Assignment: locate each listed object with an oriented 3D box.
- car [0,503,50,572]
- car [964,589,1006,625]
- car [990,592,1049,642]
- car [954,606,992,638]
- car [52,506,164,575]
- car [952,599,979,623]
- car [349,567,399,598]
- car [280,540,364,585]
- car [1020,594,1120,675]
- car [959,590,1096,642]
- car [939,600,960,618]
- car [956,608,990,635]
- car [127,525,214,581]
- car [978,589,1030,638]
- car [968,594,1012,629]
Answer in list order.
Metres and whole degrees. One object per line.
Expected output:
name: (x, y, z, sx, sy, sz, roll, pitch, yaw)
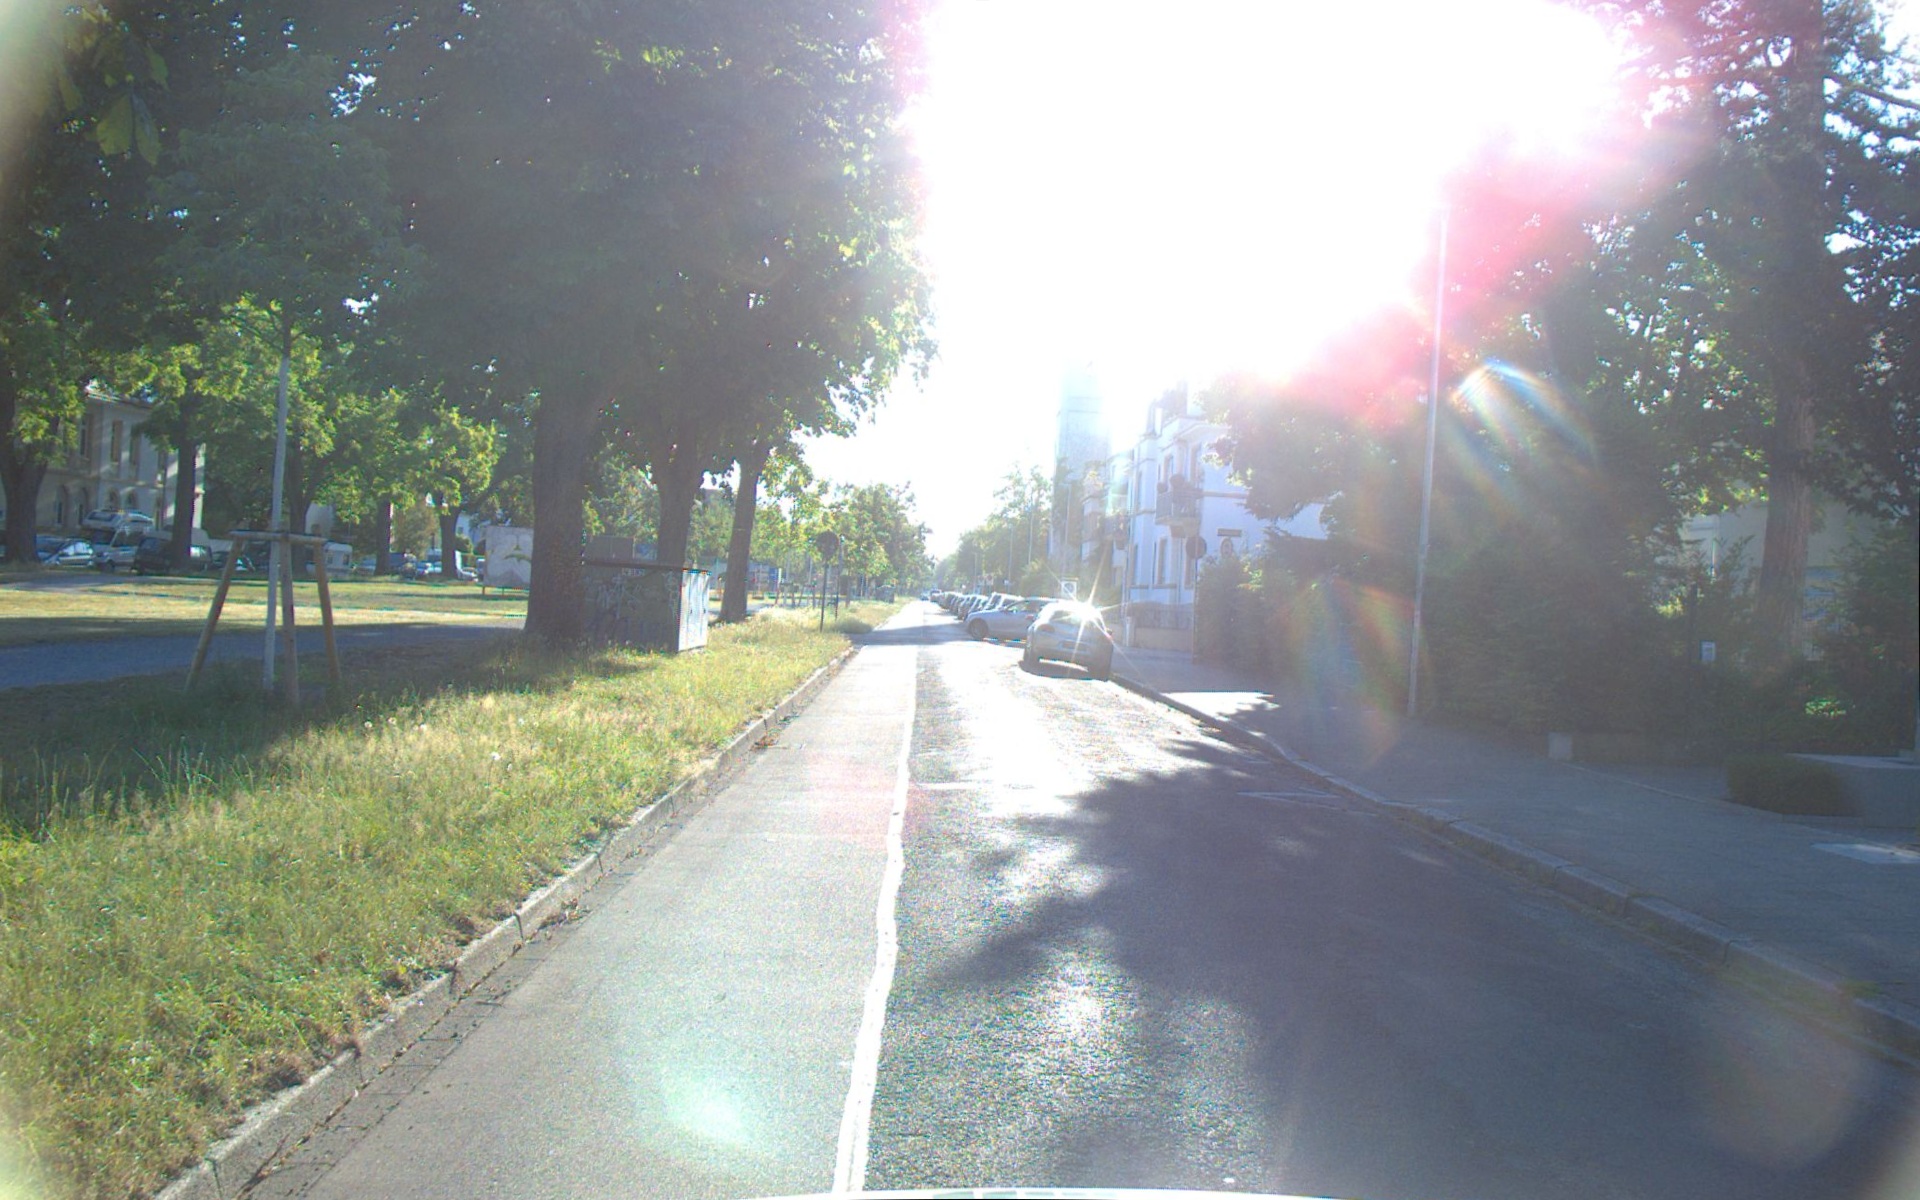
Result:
car: (-40.202, -2.643, 68.619, 1.953, 2.719, 5.186, 3, 0, -1)
car: (1.206, 0.329, 80.464, 1.723, 1.633, 4.357, 3, 0, -2)
car: (2.107, 0.595, 59.824, 1.723, 1.633, 4.357, 3, 0, -2)
car: (0.697, 1.168, 90.761, 1.726, 1.547, 3.998, 5, 0, -2)
car: (-40.613, -2.794, 79.029, 2.388, 2.973, 5.816, 1, -1, -1)
car: (0.433, 0.850, 127.570, 1.953, 1.658, 4.000, 3, 0, 0)
car: (-41.582, -1.215, 117.457, 1.953, 2.049, 4.483, 1, -1, -1)
car: (-35.122, -2.035, 91.194, 2.483, 2.275, 5.458, 3, 0, -1)
car: (2.409, 0.730, 37.041, 1.723, 1.443, 4.071, 10, 0, -1)
car: (2.124, 0.487, 52.217, 3.907, 1.444, 1.766, 3, 1, 24)
car: (-1.051, 0.873, 162.051, 1.940, 1.712, 4.000, 3, 0, 0)
car: (0.793, 1.321, 101.777, 1.953, 1.489, 4.000, 3, 0, 0)
car: (-34.606, -2.021, 72.641, 1.650, 2.213, 4.314, 3, 0, 0)
car: (1.730, 0.531, 65.955, 1.652, 1.678, 4.098, 8, 0, -1)
car: (1.339, 0.518, 75.442, 1.726, 1.444, 3.998, 4, 0, -2)
